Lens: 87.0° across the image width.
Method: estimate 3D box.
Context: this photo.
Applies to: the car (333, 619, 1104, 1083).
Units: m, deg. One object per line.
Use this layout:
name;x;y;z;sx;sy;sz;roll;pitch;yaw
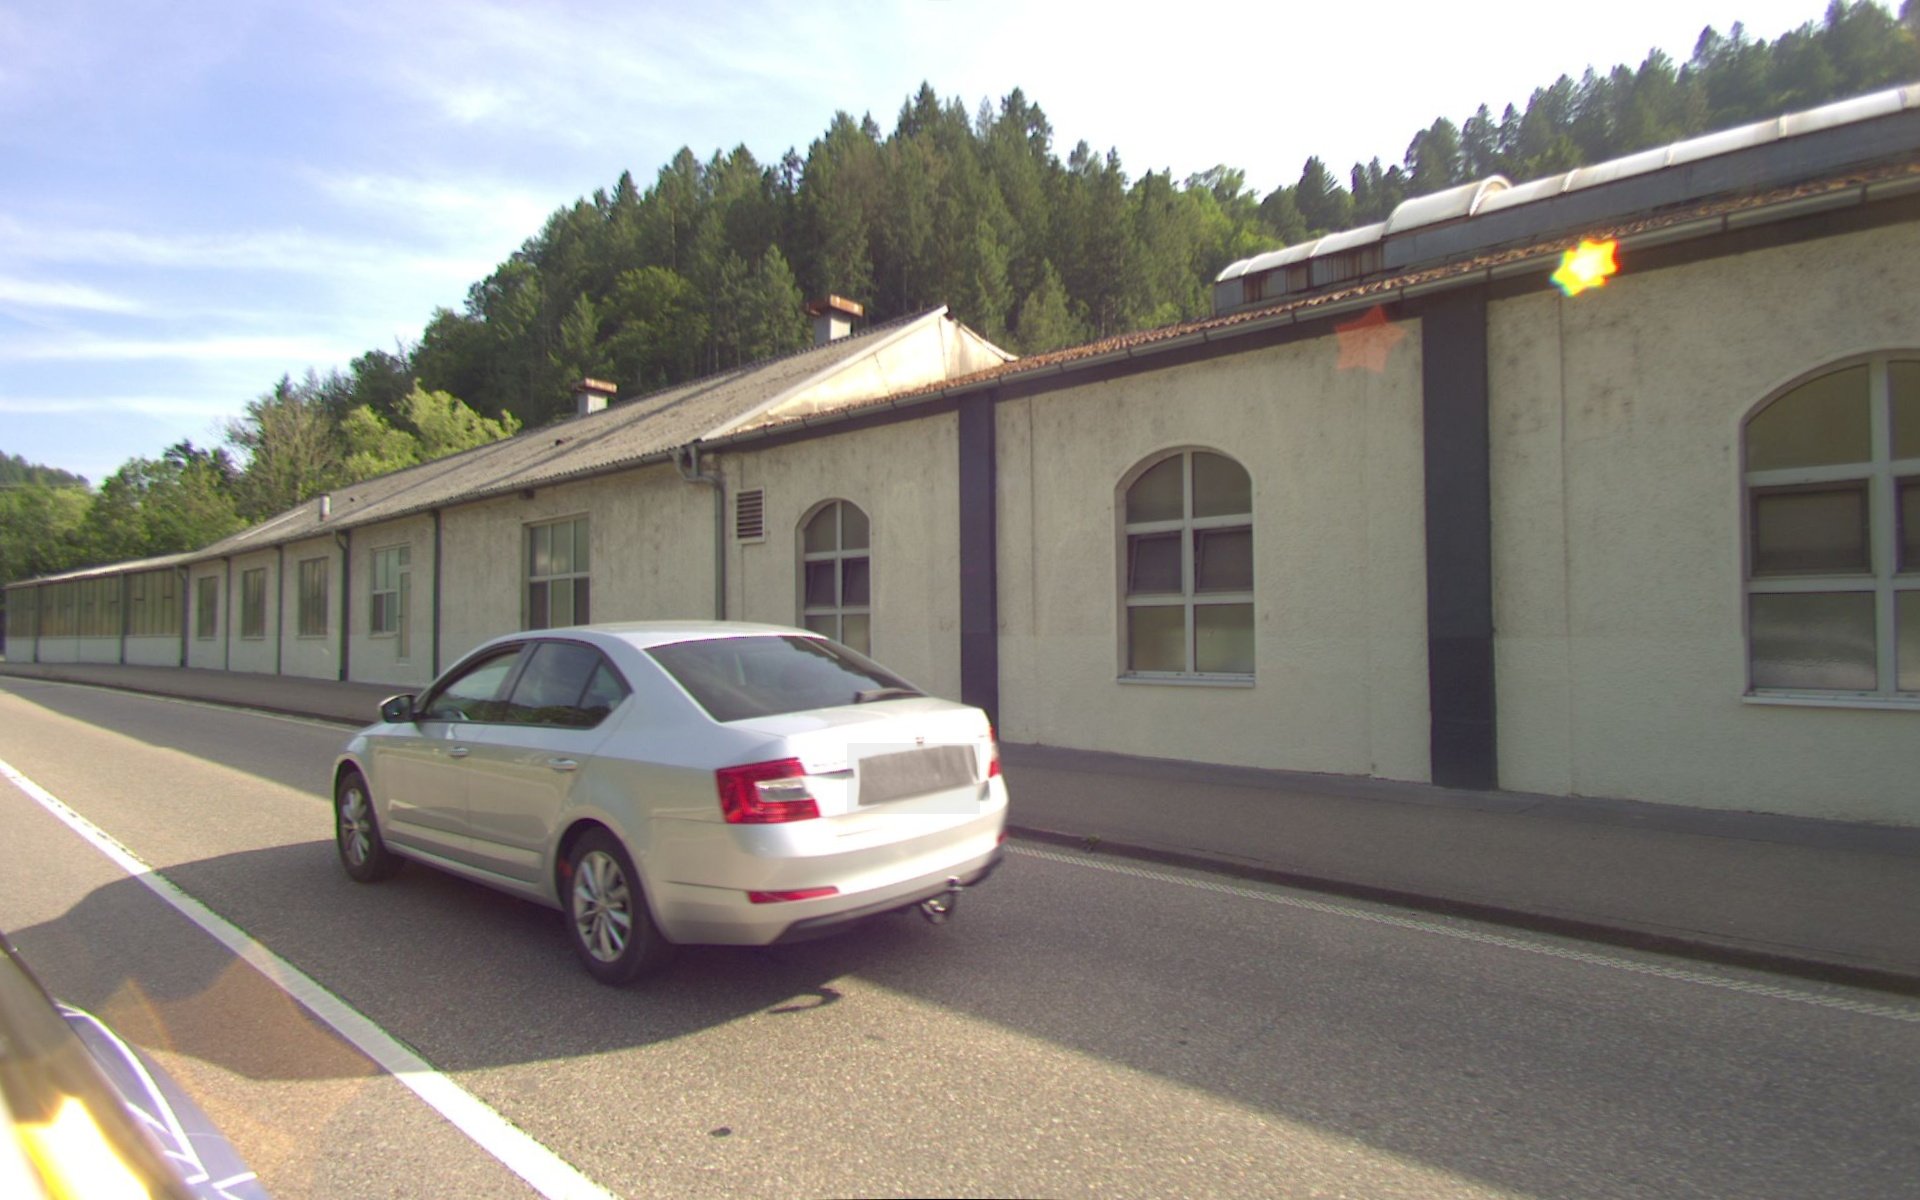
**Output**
car;-1.487;0.837;5.125;4.106;1.403;1.721;-2;-1;41
